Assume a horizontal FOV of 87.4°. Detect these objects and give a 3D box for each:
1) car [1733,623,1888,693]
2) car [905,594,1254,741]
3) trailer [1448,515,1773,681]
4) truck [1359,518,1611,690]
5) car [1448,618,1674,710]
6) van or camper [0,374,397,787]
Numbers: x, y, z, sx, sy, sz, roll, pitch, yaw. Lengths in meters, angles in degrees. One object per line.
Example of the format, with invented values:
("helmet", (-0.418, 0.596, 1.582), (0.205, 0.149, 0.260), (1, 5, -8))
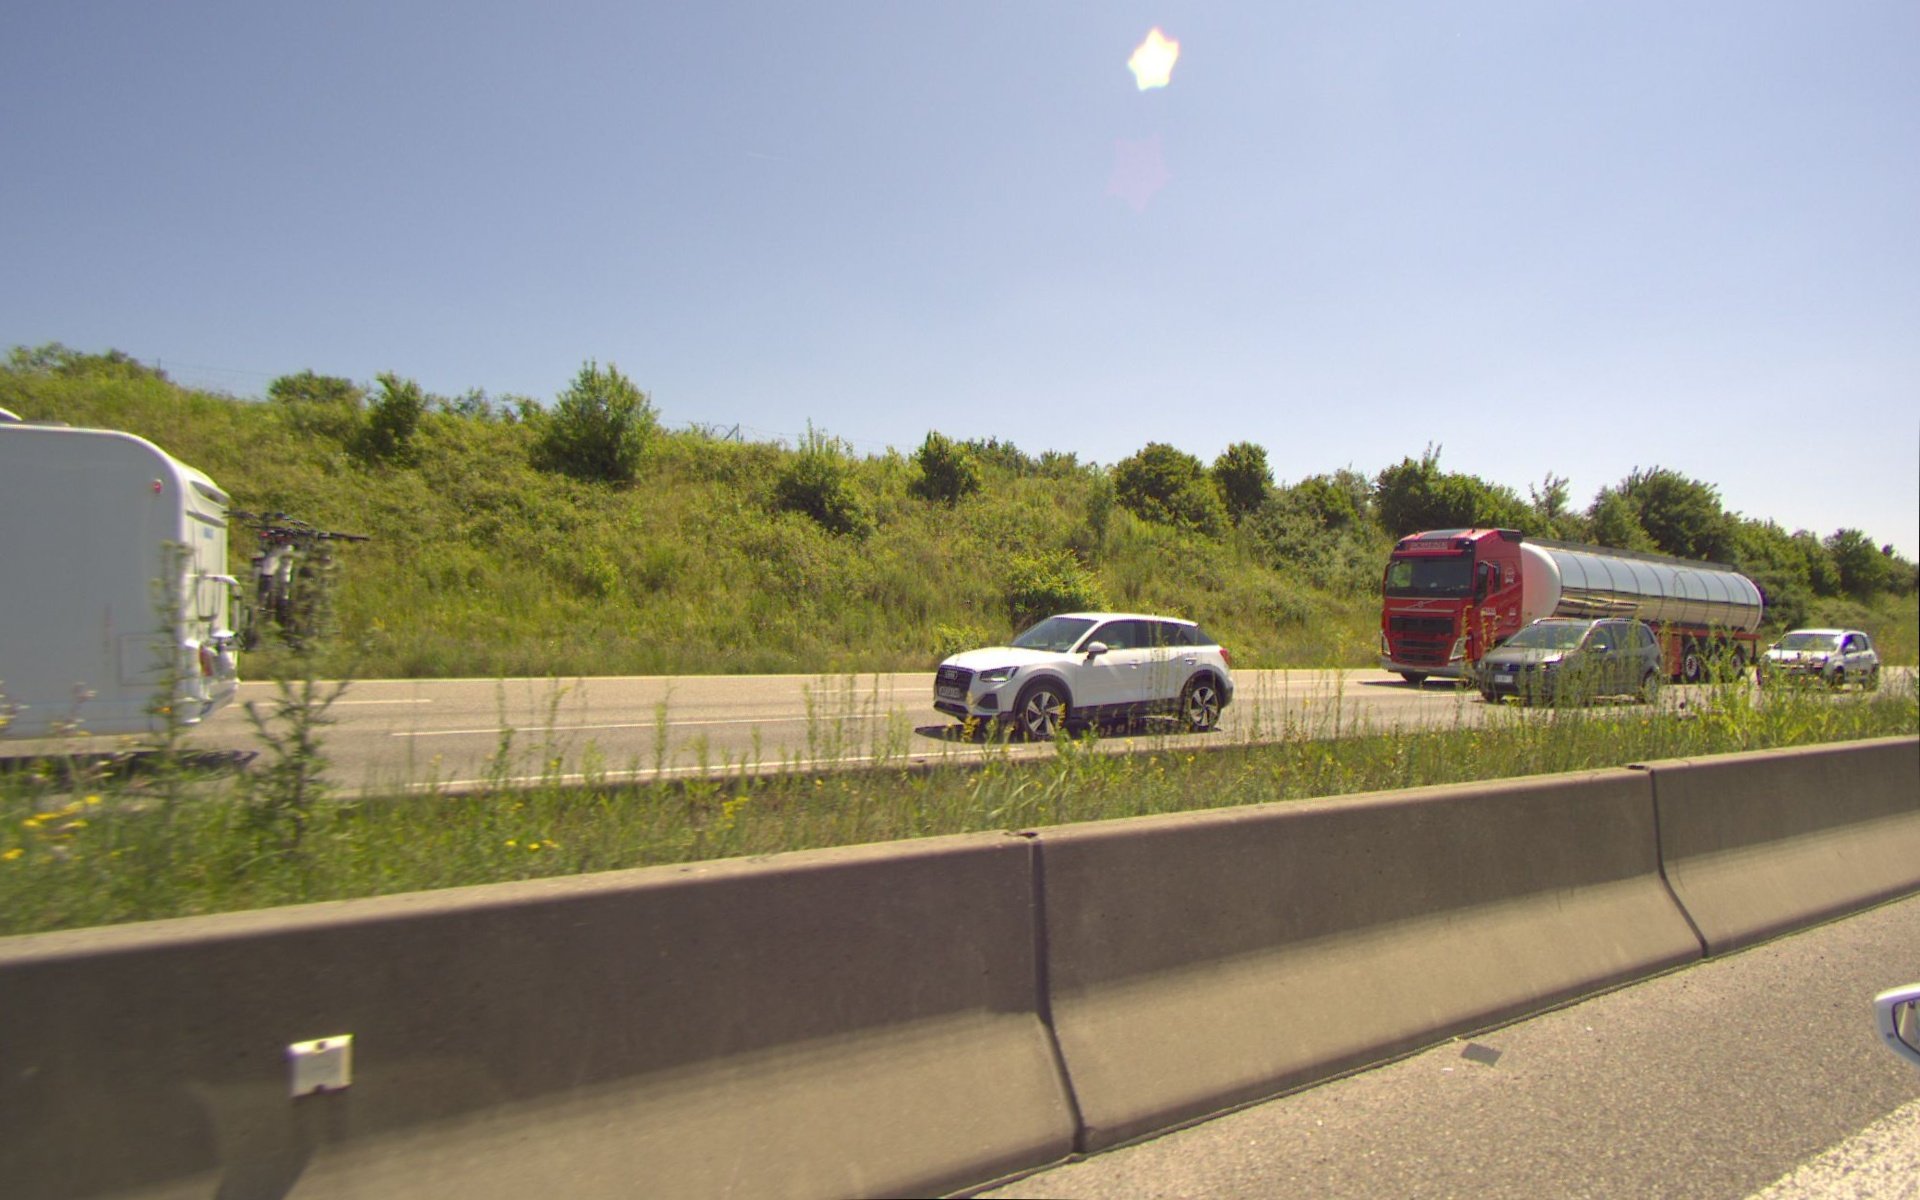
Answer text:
("car", (22.156, 1.498, 26.141), (4.140, 1.570, 1.745), (2, 2, -30))
("car", (1.630, 0.831, 13.236), (4.307, 1.649, 1.873), (2, -1, -30))
("trailer", (18.791, 0.154, 28.517), (12.135, 4.001, 2.666), (2, -3, -31))
("truck", (13.215, 0.163, 25.213), (5.962, 3.874, 2.769), (2, 0, -30))
("car", (11.842, 1.222, 19.707), (4.729, 1.604, 1.746), (2, -1, -30))
("van or camper", (-8.923, -0.191, 7.566), (8.031, 2.975, 2.534), (2, -1, -29))
